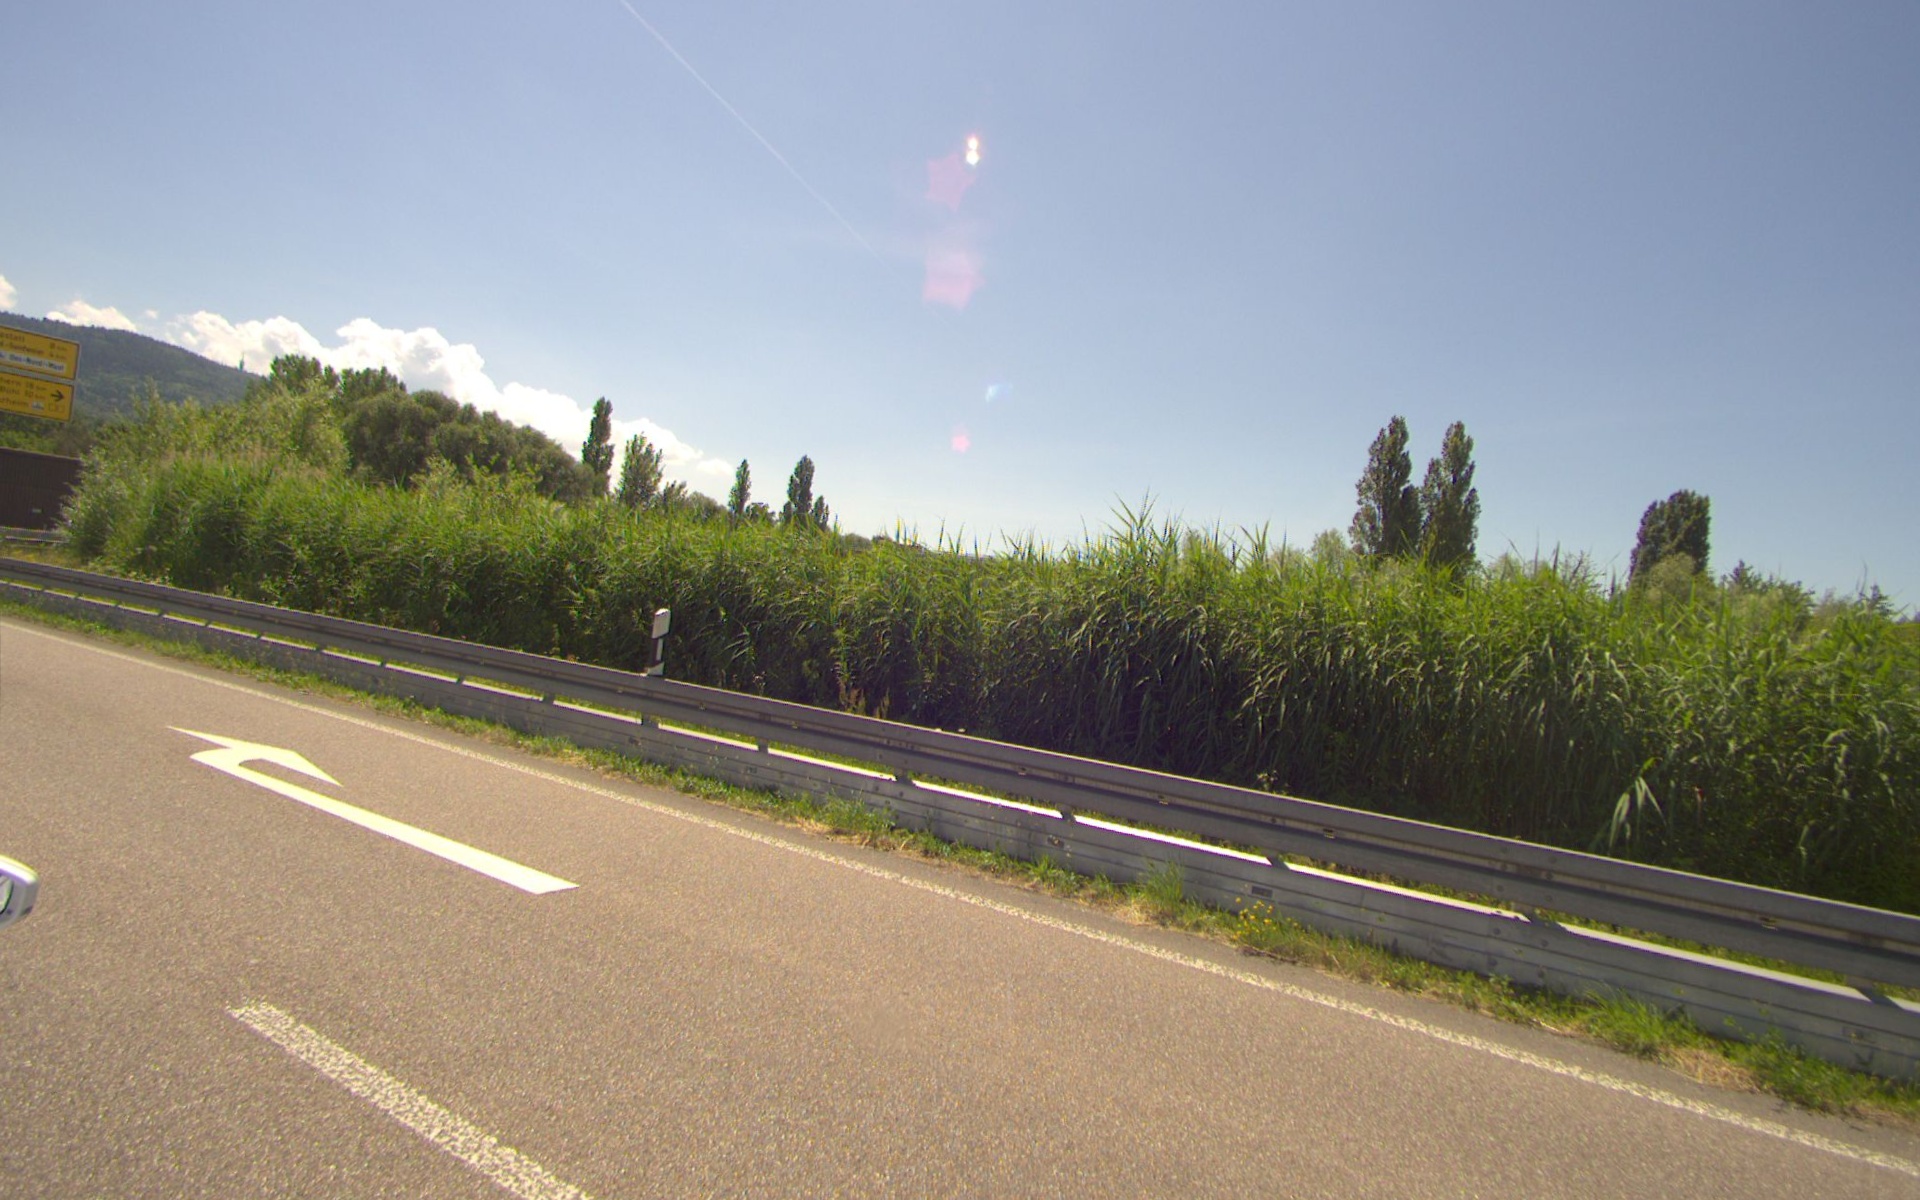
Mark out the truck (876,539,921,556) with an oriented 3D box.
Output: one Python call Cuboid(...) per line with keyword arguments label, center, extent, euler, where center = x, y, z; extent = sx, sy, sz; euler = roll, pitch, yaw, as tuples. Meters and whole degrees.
Cuboid(label="truck", center=(-9.782, -8.364, 159.931), extent=(6.806, 2.037, 2.347), euler=(6, -1, 32))
